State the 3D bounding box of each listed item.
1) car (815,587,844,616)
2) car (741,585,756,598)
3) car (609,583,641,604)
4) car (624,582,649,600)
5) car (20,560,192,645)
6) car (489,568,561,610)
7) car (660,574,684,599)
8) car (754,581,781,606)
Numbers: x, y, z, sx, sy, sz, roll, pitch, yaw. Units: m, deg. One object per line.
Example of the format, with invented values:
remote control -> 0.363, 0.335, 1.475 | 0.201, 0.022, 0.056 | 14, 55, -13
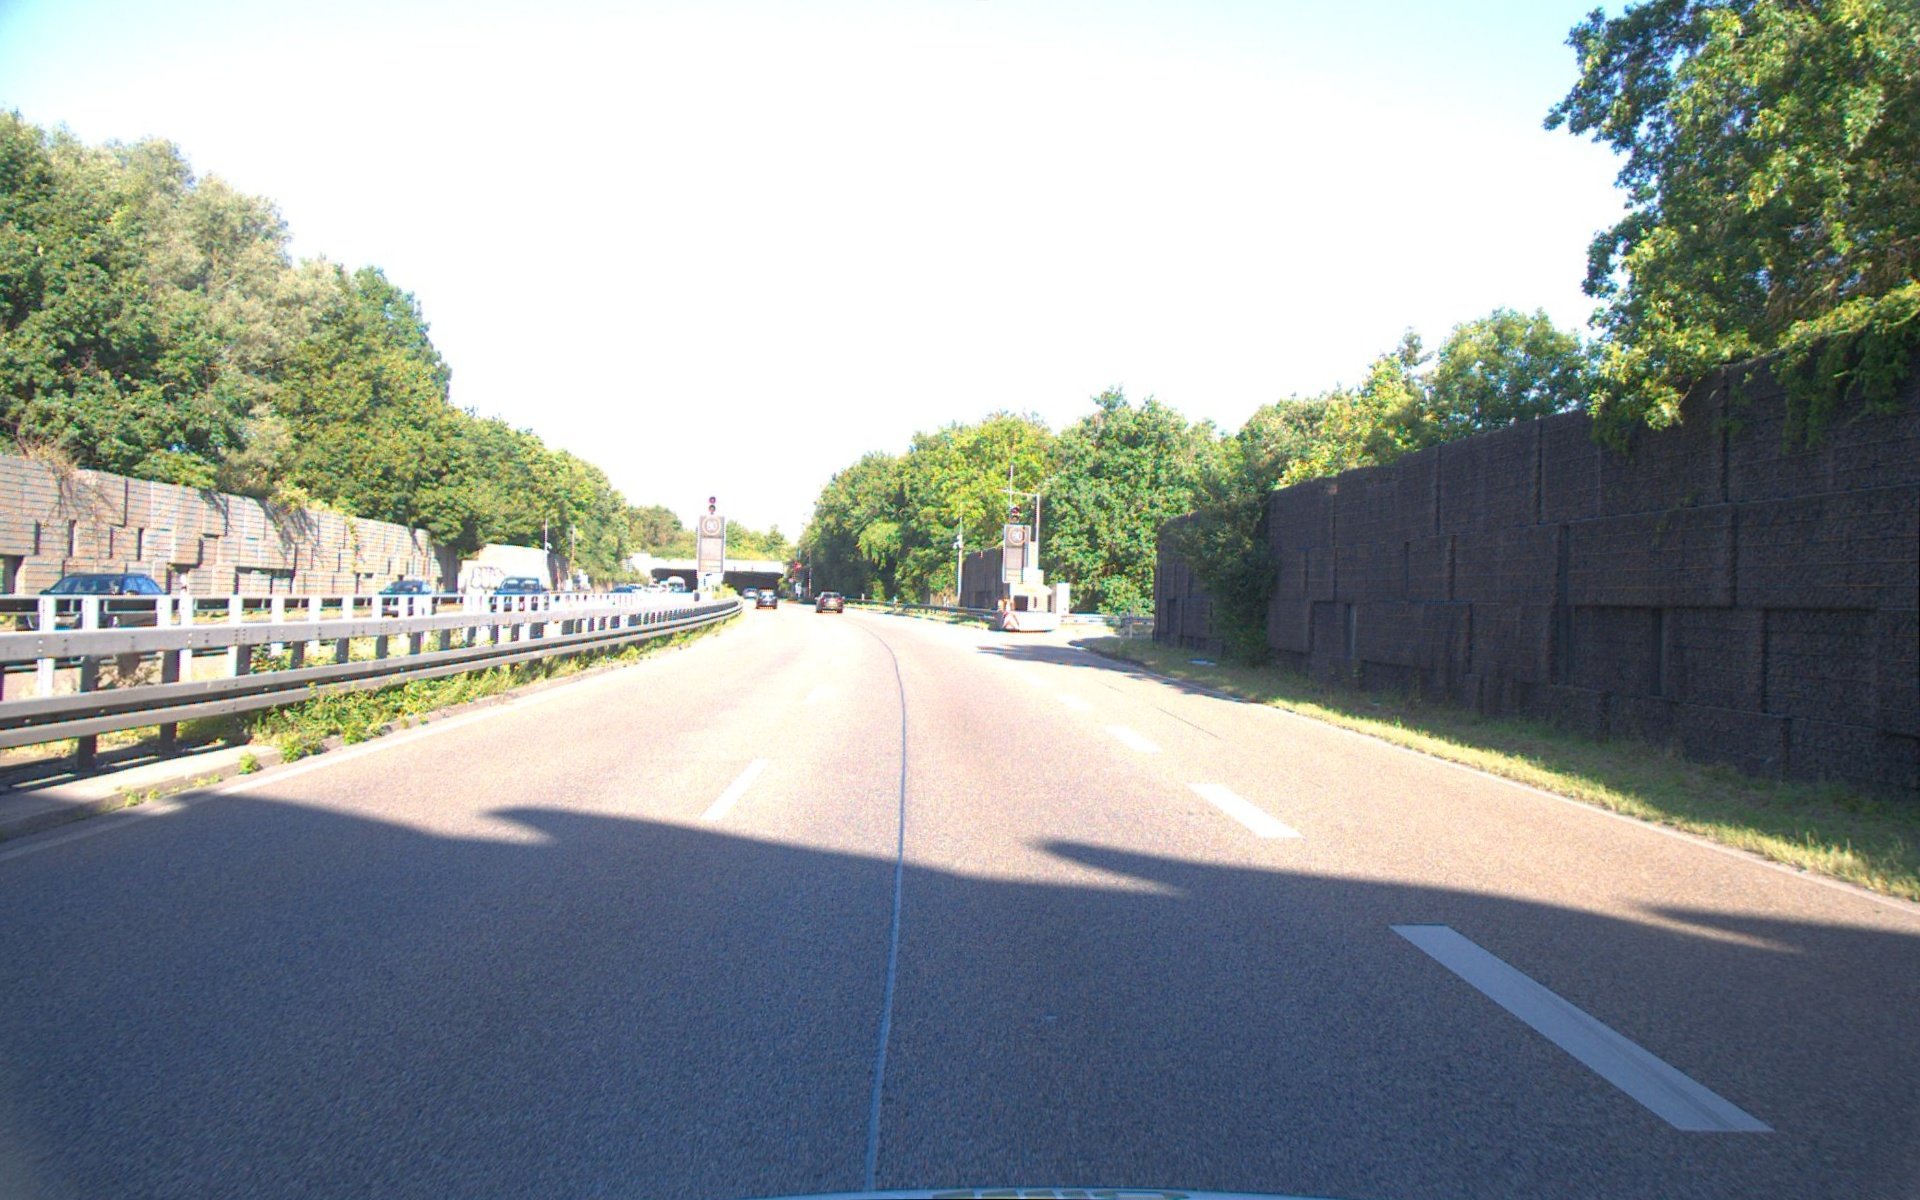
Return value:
car -> -9.384, 0.060, 119.255 | 1.954, 1.959, 3.998 | 2, 0, -3
car -> -32.108, -1.288, 251.141 | 1.958, 1.959, 3.990 | 2, 0, -11
car -> -26.406, -0.511, 130.632 | 1.955, 1.505, 4.529 | 3, 1, -6
car -> -31.564, -0.876, 161.428 | 1.955, 1.623, 4.615 | 3, 1, -6
car -> -18.102, 0.020, 35.281 | 1.515, 1.601, 4.393 | 3, 1, -3
car -> -17.971, -0.475, 68.503 | 1.860, 1.601, 4.805 | 3, 1, -3
car -> -32.544, -1.542, 187.111 | 2.080, 2.730, 6.580 | 3, 1, -6
car -> -16.181, -0.553, 139.093 | 1.954, 1.959, 3.998 | 2, 0, -3
